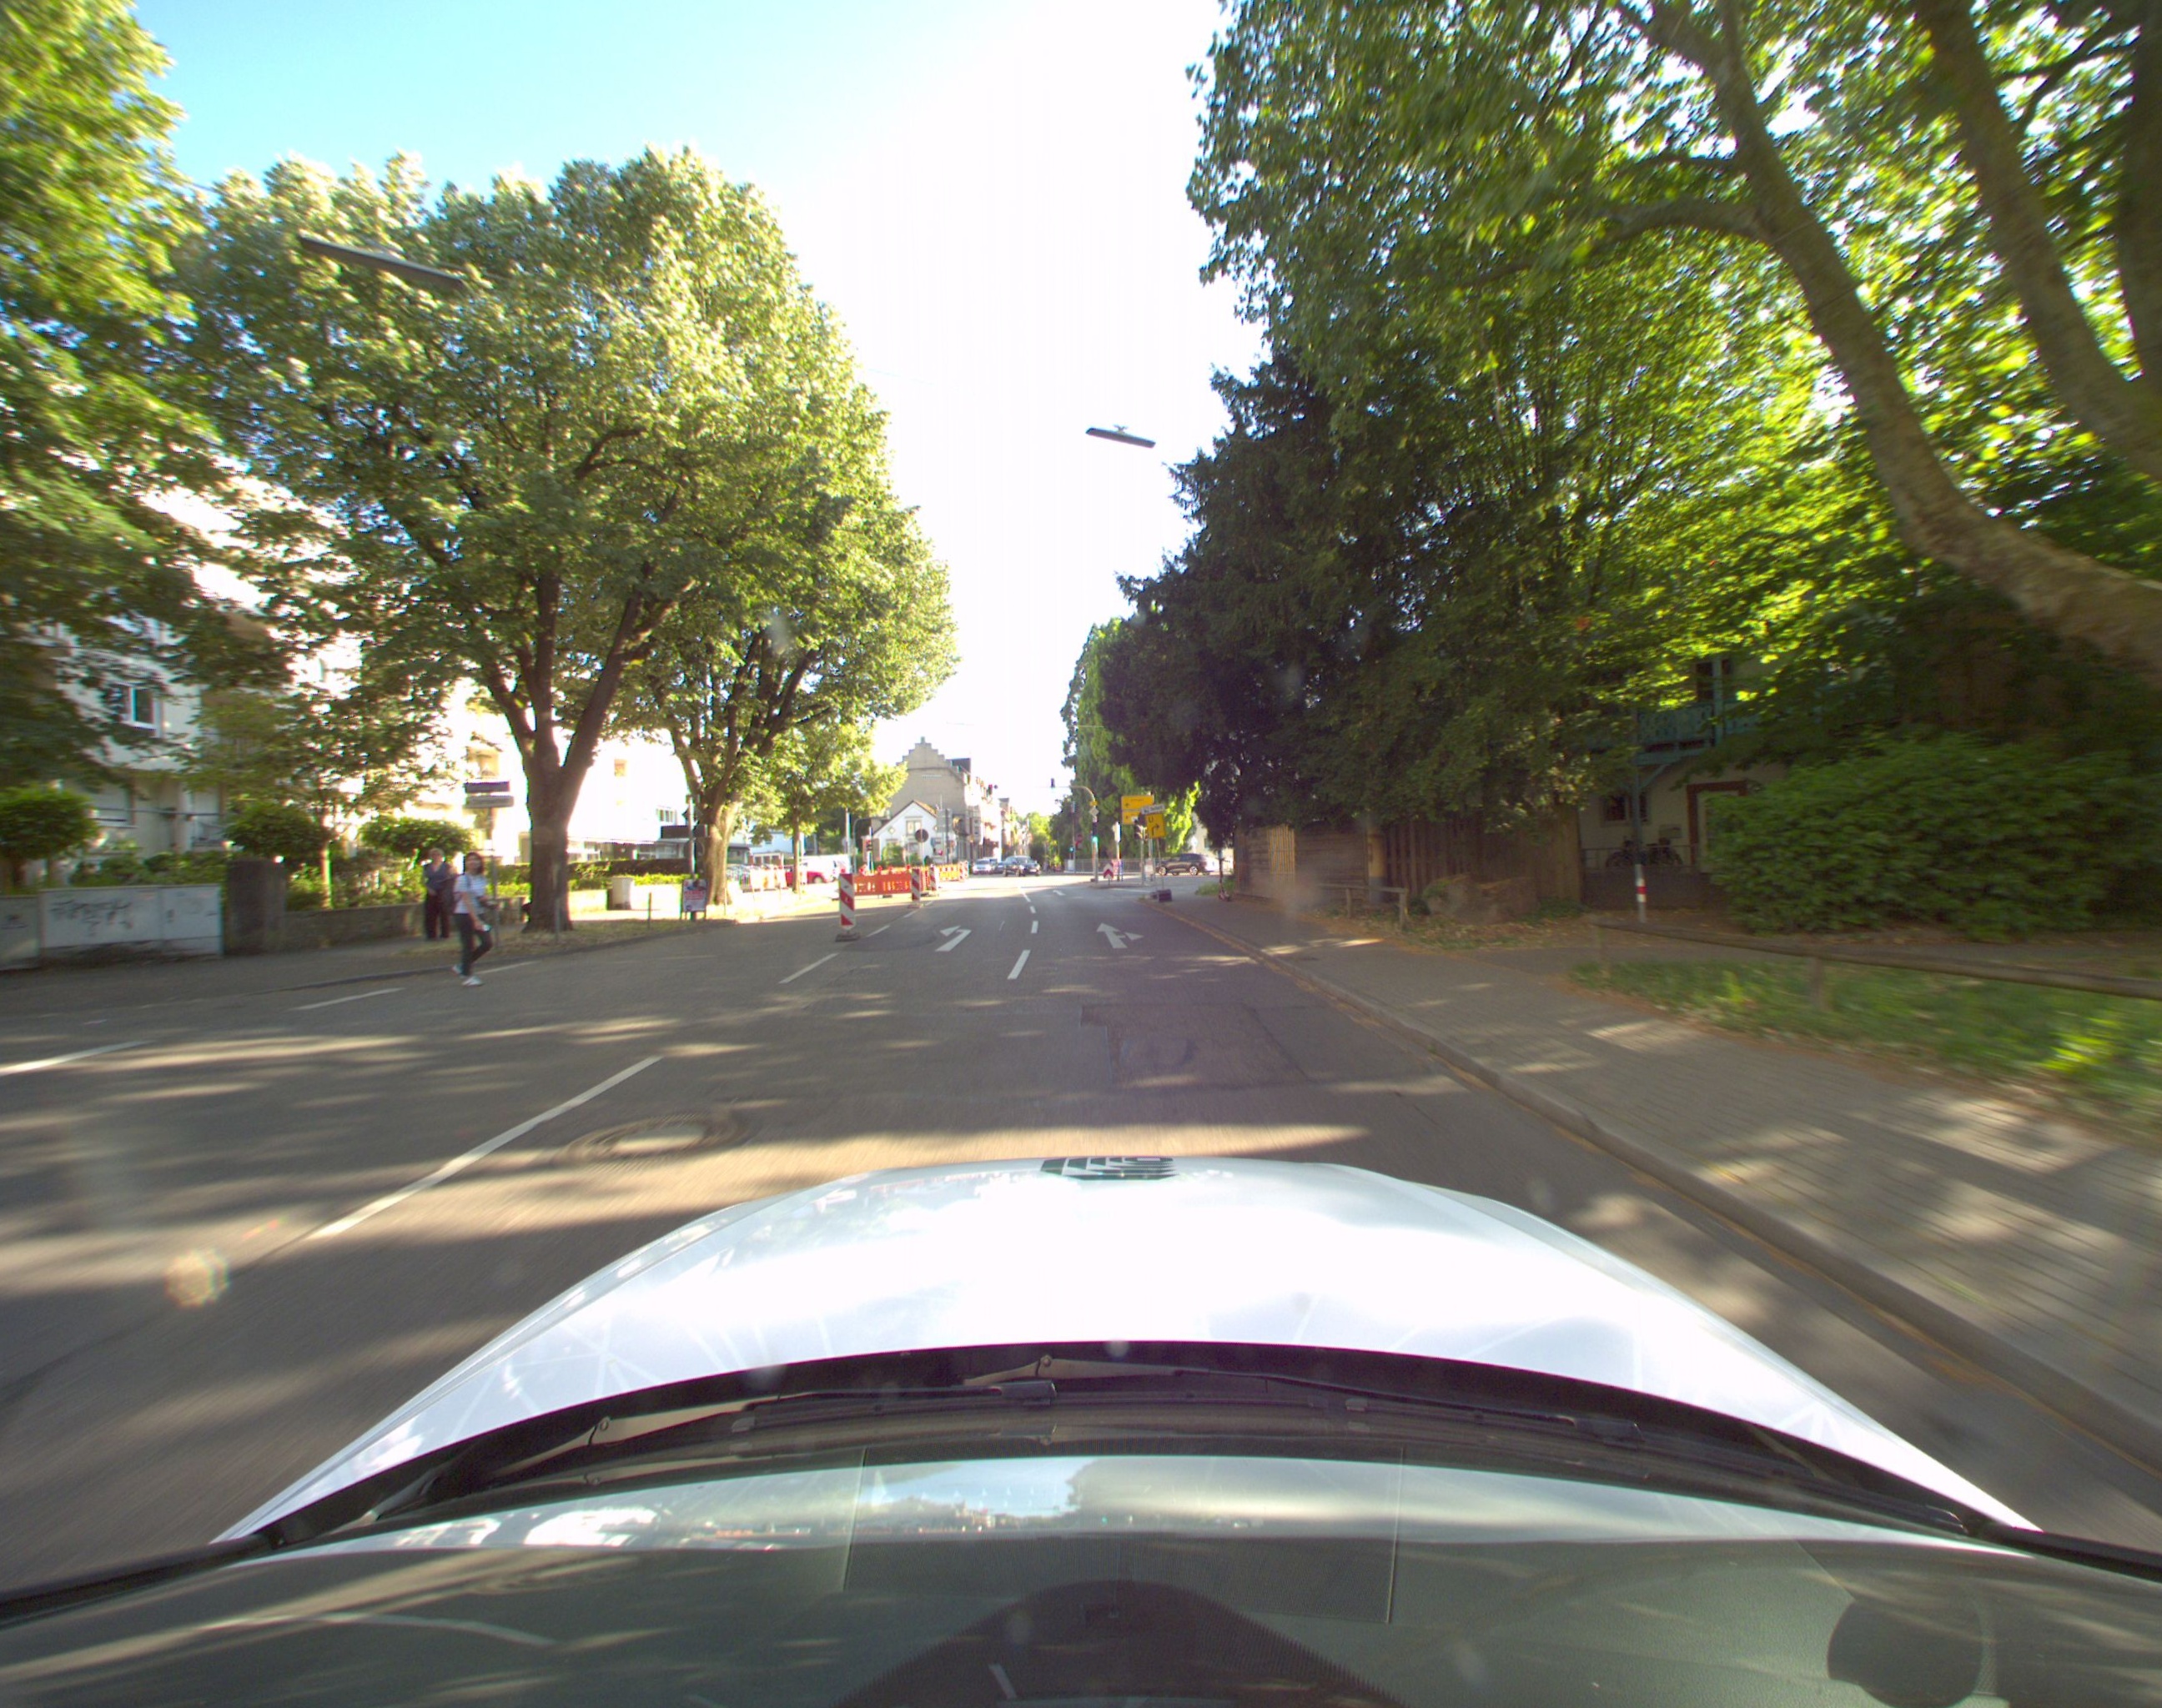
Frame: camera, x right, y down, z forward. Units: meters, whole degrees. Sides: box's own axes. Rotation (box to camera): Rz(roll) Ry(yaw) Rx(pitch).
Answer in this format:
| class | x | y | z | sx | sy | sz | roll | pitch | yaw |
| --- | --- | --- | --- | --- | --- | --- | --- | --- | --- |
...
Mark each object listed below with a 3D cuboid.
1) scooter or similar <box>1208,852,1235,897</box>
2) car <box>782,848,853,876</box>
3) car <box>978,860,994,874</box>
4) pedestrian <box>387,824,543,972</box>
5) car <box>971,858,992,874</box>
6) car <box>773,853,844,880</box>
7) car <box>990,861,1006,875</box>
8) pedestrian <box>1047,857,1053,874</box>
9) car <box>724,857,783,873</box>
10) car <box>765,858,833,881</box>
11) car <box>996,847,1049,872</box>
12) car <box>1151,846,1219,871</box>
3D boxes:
| class | x | y | z | sx | sy | sz | roll | pitch | yaw |
| --- | --- | --- | --- | --- | --- | --- | --- | --- | --- |
| scooter or similar | 3.949 | 0.570 | 22.890 | 0.436 | 1.202 | 1.258 | -4 | 0 | -1 |
| car | -19.477 | 0.579 | 60.437 | 4.661 | 1.965 | 2.113 | 0 | 0 | -7 |
| car | -10.849 | 1.446 | 92.821 | 1.774 | 1.480 | 4.086 | 0 | 0 | -7 |
| pedestrian | -7.867 | 0.538 | 10.473 | 1.038 | 1.781 | 1.193 | -1 | 0 | 4 |
| car | -9.959 | 1.166 | 81.335 | 1.777 | 1.543 | 3.983 | 0 | 0 | -12 |
| car | -19.239 | 0.859 | 57.586 | 4.302 | 1.852 | 1.999 | 0 | 0 | -2 |
| car | -10.468 | 1.786 | 102.758 | 1.771 | 1.648 | 4.530 | 0 | 0 | -2 |
| pedestrian | -3.267 | 1.212 | 86.522 | 0.600 | 1.693 | 0.611 | -2 | 0 | -2 |
| car | -28.437 | 0.958 | 70.714 | 4.288 | 1.398 | 2.005 | 0 | 0 | 9 |
| car | -19.021 | 1.021 | 55.045 | 3.989 | 1.479 | 1.994 | -1 | 0 | -9 |
| car | -4.578 | 0.420 | 63.224 | 2.011 | 1.815 | 4.202 | -4 | 3 | -40 |
| car | 7.582 | 0.361 | 59.662 | 4.604 | 1.670 | 2.012 | -1 | -3 | 41 |
